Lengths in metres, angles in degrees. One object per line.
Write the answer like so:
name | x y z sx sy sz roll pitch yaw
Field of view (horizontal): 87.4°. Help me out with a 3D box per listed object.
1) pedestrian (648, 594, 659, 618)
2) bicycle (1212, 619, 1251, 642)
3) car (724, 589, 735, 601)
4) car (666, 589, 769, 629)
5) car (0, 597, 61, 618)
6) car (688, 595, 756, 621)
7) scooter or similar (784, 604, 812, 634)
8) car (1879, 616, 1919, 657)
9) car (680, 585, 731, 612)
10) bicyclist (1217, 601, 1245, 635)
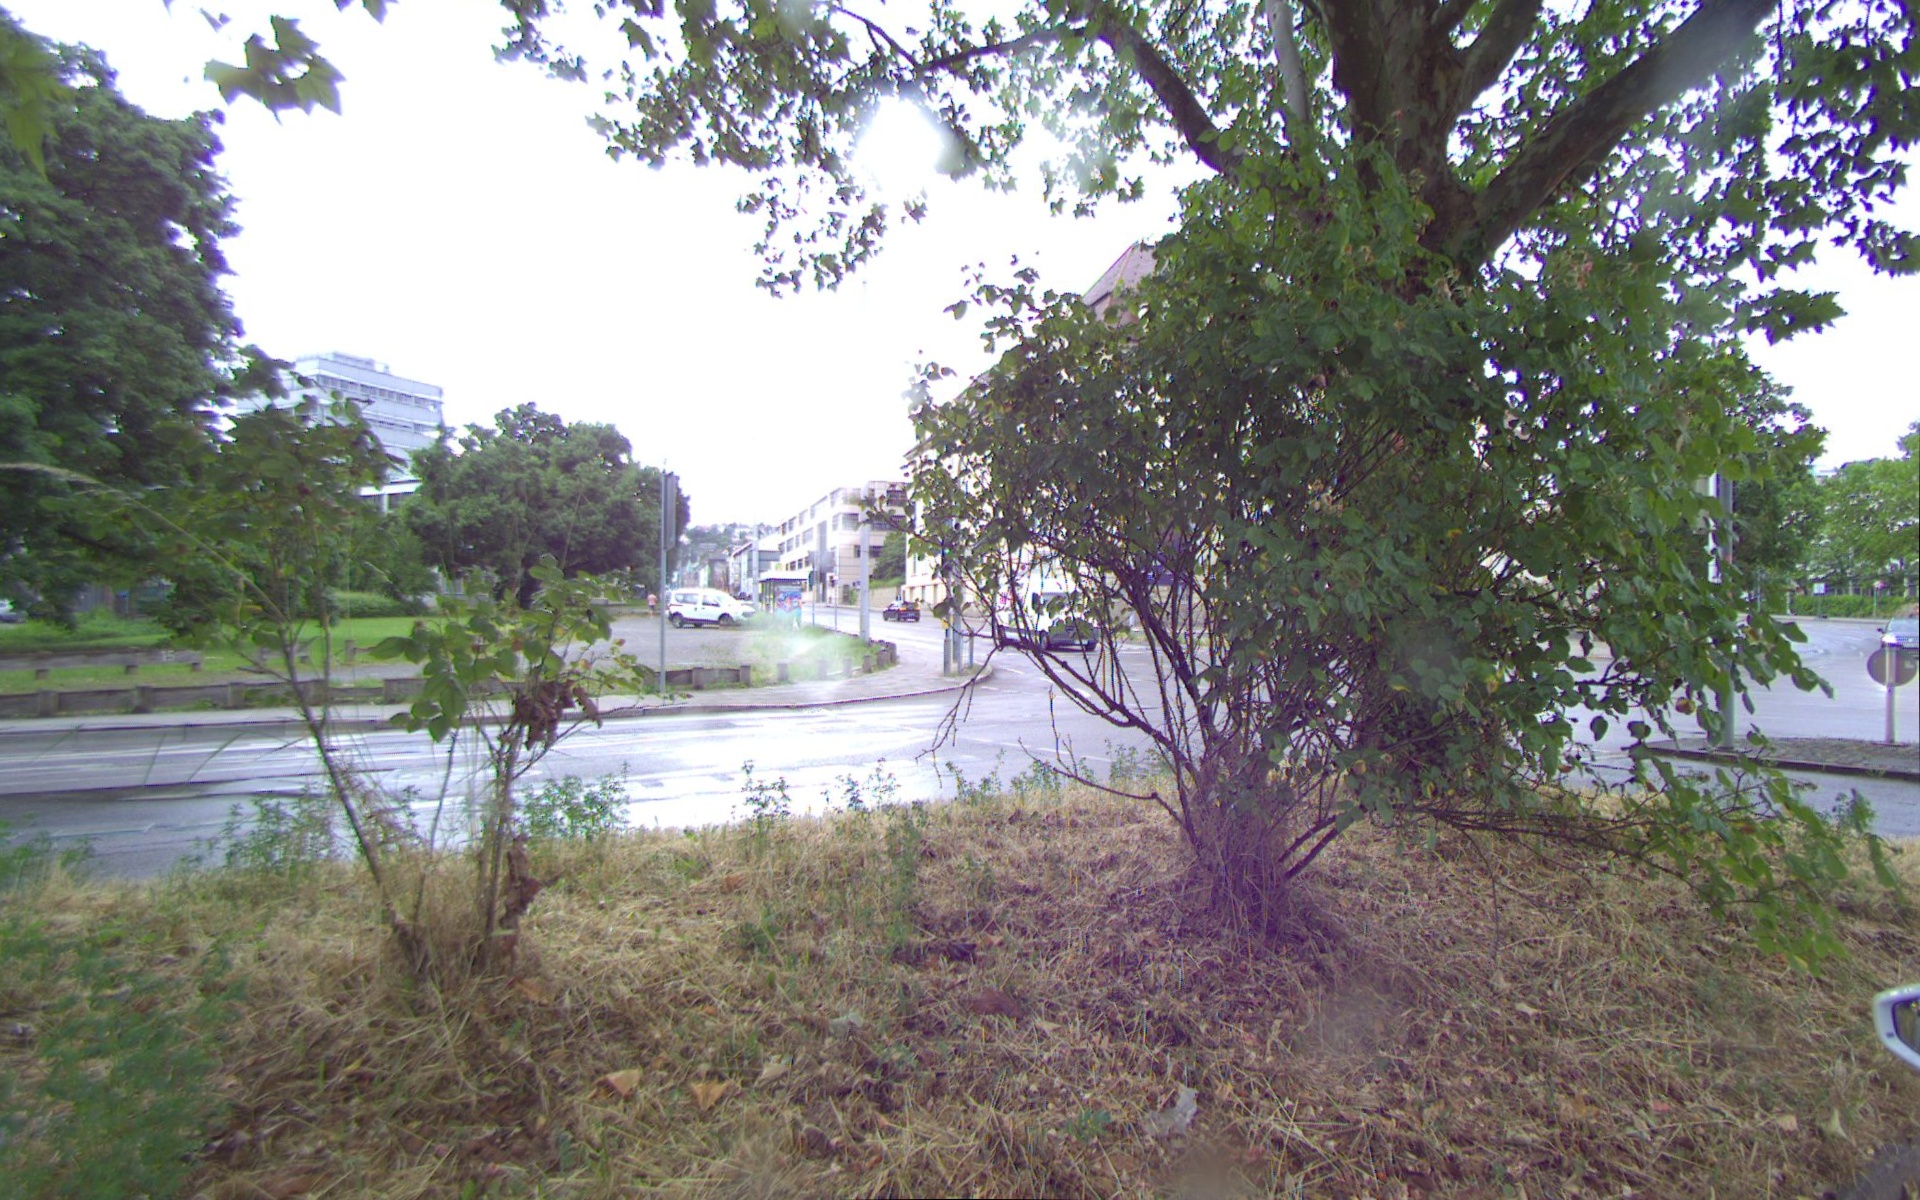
pedestrian | -19.665 0.374 64.456 0.557 1.548 0.669 2 0 -8
bicycle | 13.560 1.509 50.192 0.643 1.070 1.799 2 -1 -41
car | -51.815 -1.202 225.451 1.969 2.652 3.983 2 0 -19
car | -11.288 0.389 46.779 4.420 1.791 1.833 0 -1 24
car | -58.529 0.462 62.488 3.500 1.158 1.586 2 0 -18
car | -14.918 0.491 62.927 4.004 1.461 1.850 2 0 32
scooter or similar | -6.583 0.779 40.847 0.541 1.182 1.253 2 0 20
car | 39.297 1.474 41.564 1.847 1.585 4.252 -1 -1 43
car | -17.212 -0.083 67.892 1.838 1.765 4.029 1 -1 -39
bicyclist | 13.563 0.894 50.223 0.697 1.654 1.115 2 0 -41
